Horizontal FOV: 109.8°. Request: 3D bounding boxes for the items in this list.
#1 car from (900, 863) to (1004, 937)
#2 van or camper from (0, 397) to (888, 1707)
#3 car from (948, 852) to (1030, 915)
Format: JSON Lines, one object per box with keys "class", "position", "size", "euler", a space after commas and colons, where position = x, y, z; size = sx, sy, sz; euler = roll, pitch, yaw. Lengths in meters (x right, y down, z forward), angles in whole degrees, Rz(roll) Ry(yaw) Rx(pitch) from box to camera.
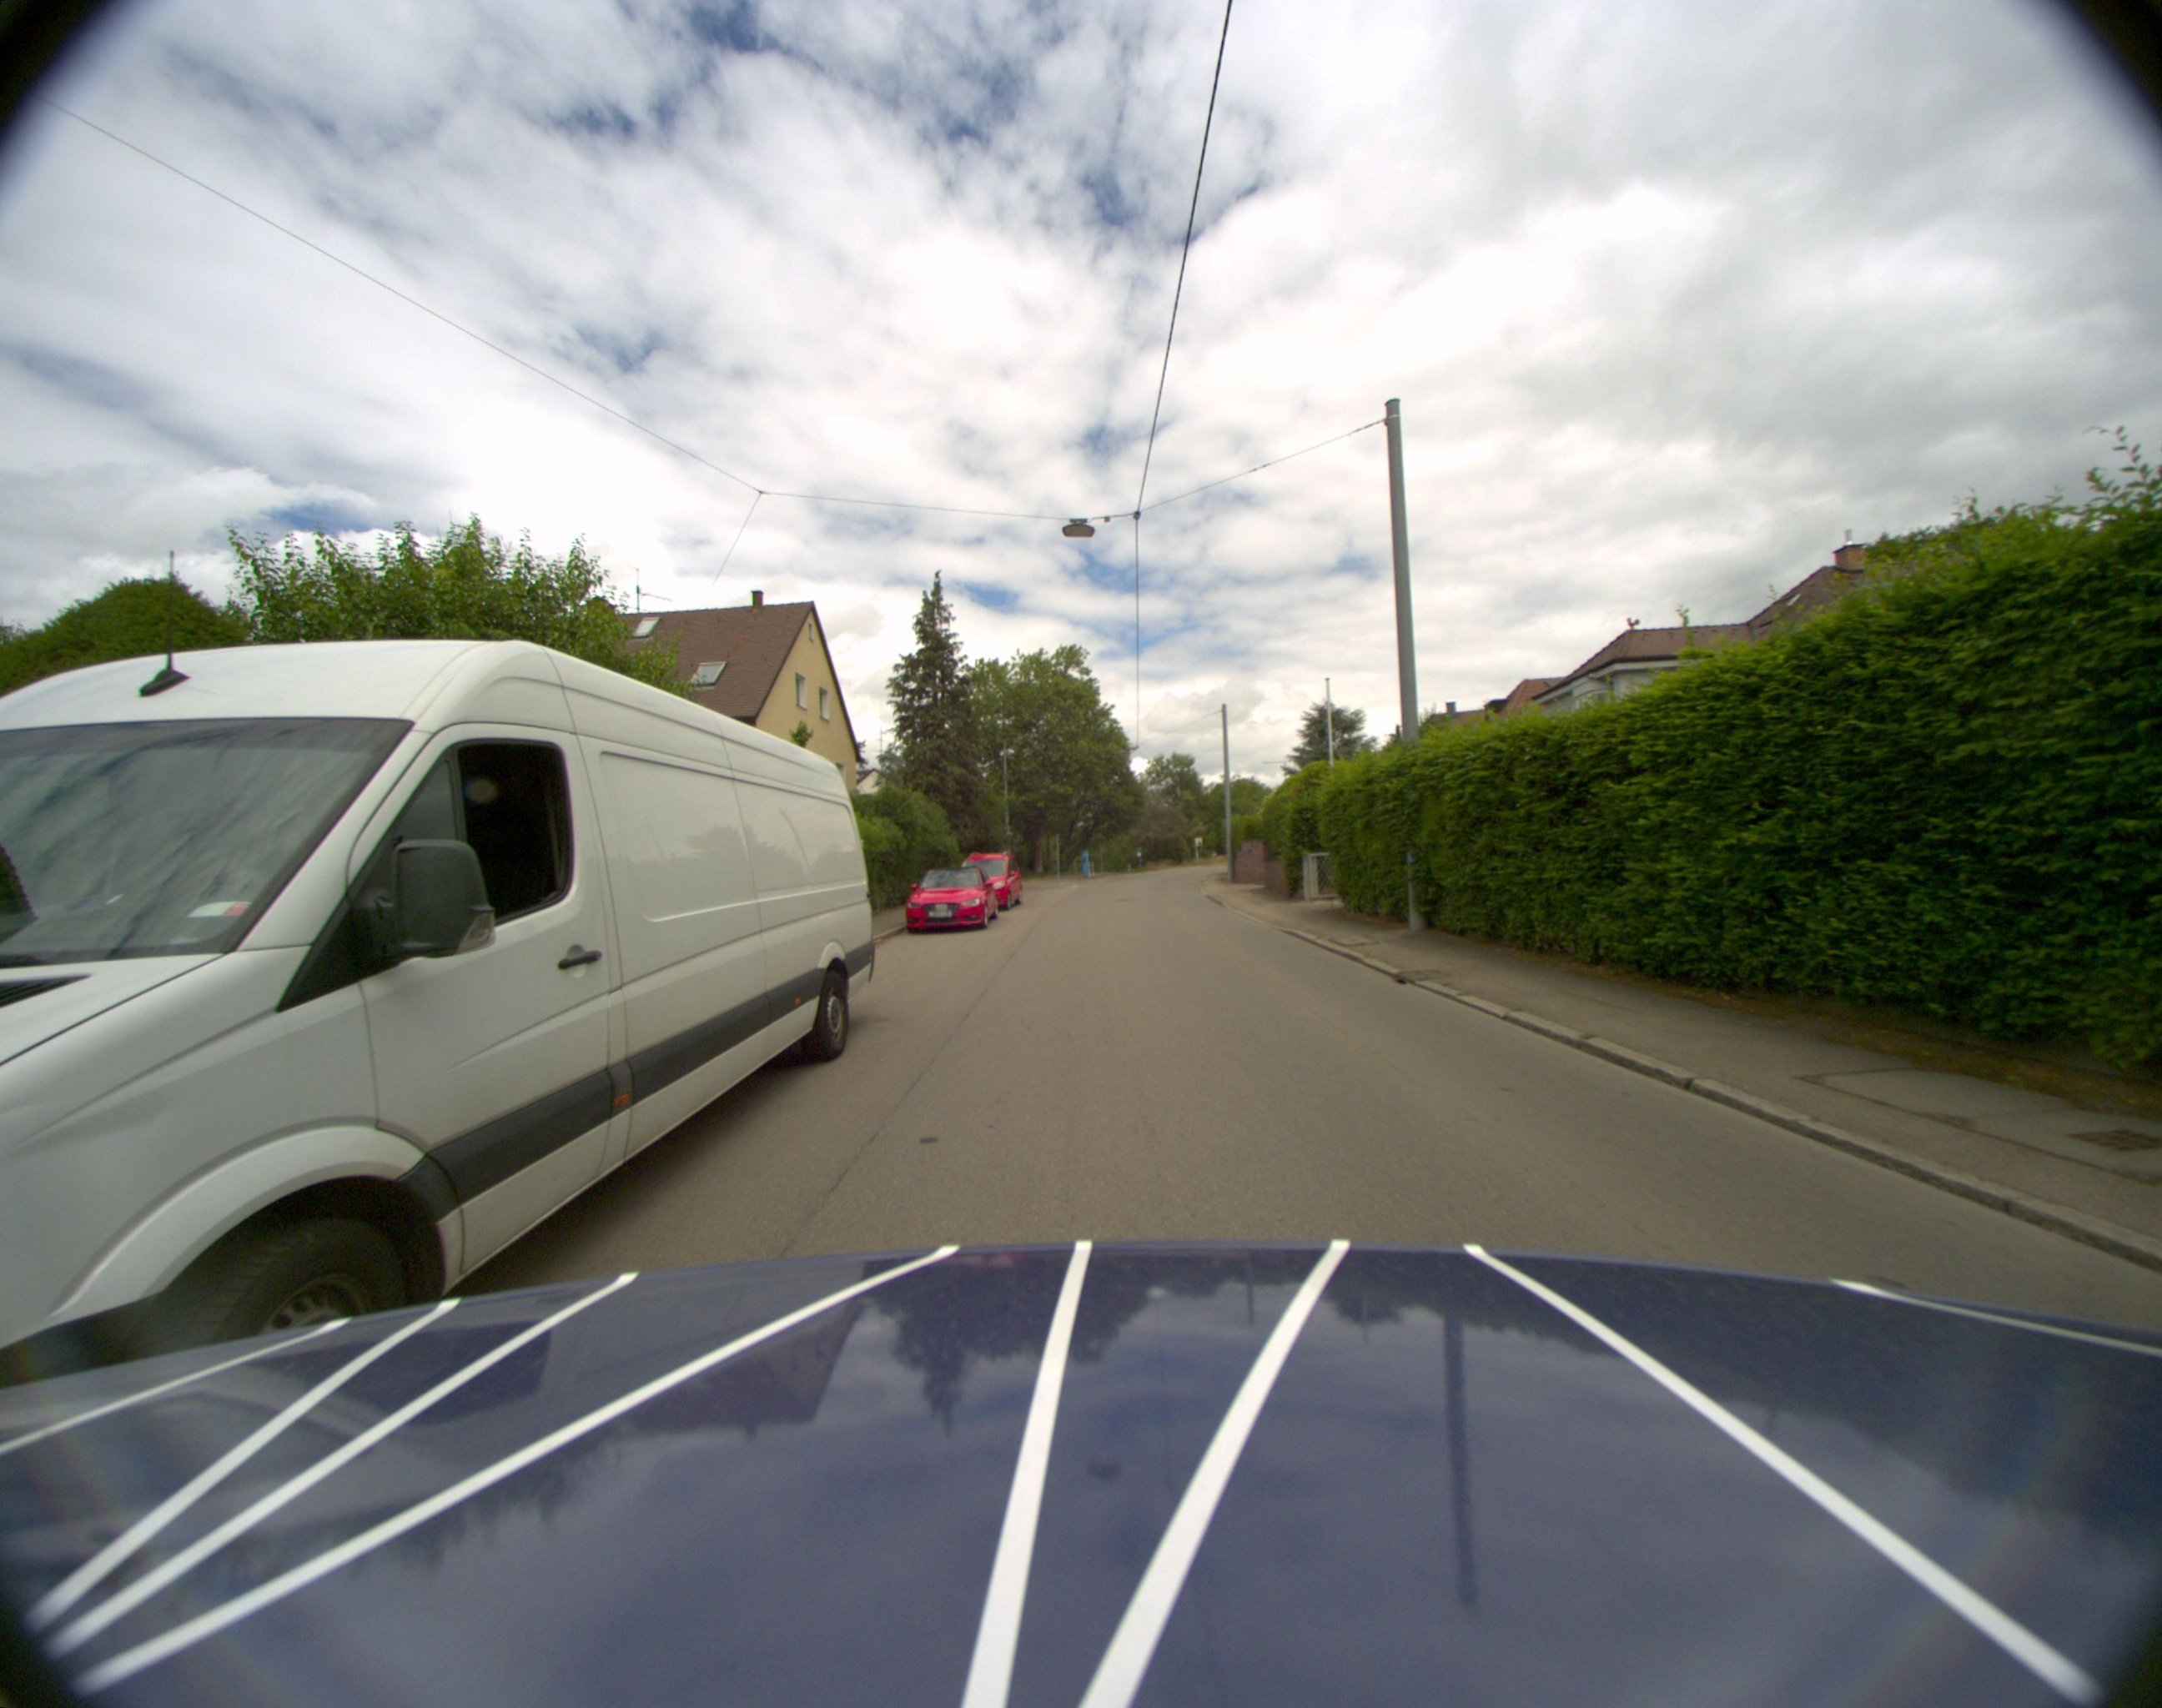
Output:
{"class": "car", "position": [-2.959, 1.008, 18.308], "size": [1.704, 1.421, 4.394], "euler": [-3, 0, 0]}
{"class": "van or camper", "position": [-2.944, 0.533, 3.998], "size": [2.046, 2.605, 7.037], "euler": [-3, 0, -1]}
{"class": "car", "position": [-2.816, 0.850, 24.105], "size": [1.771, 1.755, 4.162], "euler": [-3, 0, 3]}
